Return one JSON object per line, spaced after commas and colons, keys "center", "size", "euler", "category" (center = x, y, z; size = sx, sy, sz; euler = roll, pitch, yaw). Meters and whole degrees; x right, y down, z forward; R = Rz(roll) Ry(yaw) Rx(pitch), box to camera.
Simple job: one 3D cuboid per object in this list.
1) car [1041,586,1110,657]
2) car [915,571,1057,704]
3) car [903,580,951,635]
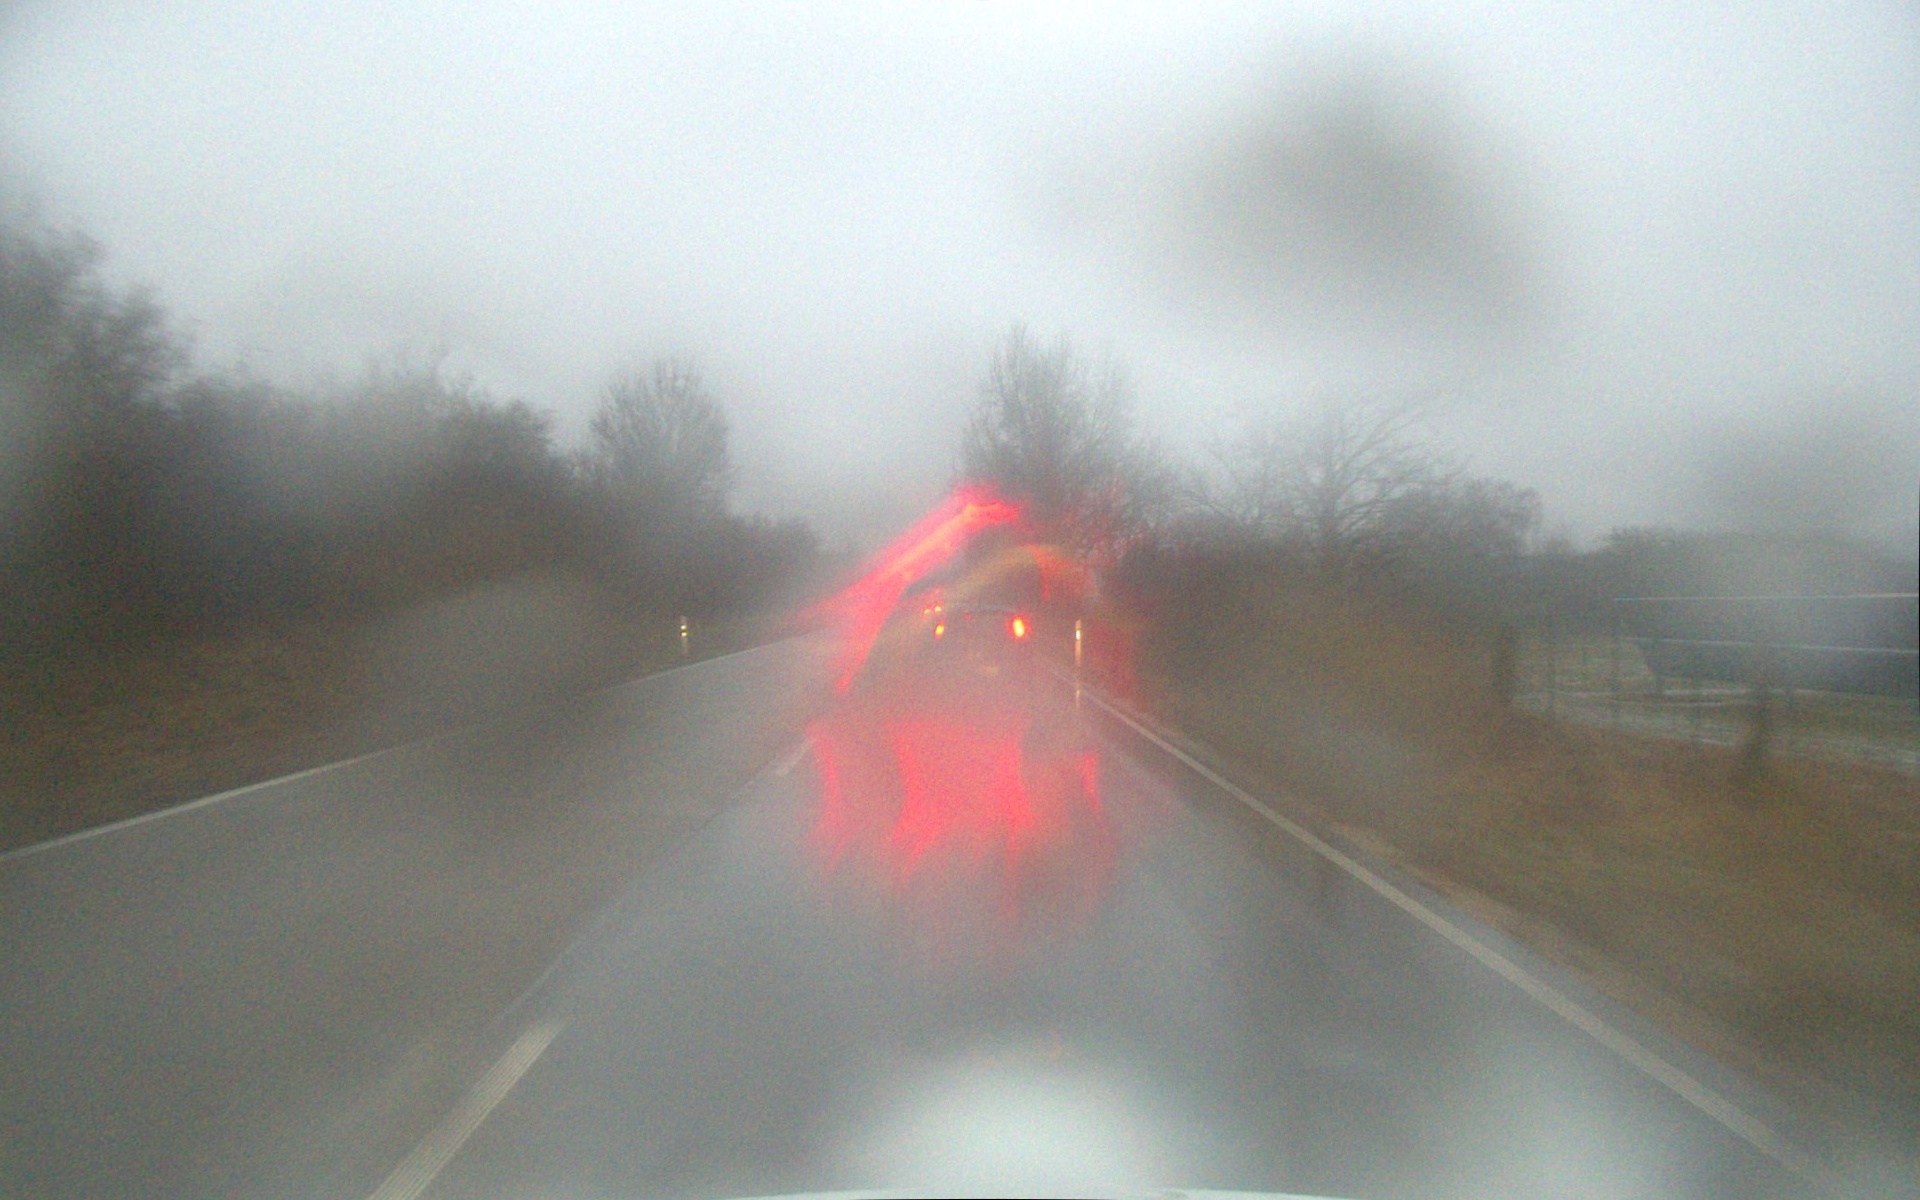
{"center": [2.789, 0.504, 40.426], "size": [1.531, 1.619, 3.489], "euler": [1, 0, 2], "category": "car"}
{"center": [0.392, 0.518, 25.185], "size": [1.952, 1.816, 4.000], "euler": [1, 0, 1], "category": "car"}
{"center": [-1.167, 0.266, 59.921], "size": [1.542, 1.907, 3.709], "euler": [1, 0, 1], "category": "car"}
